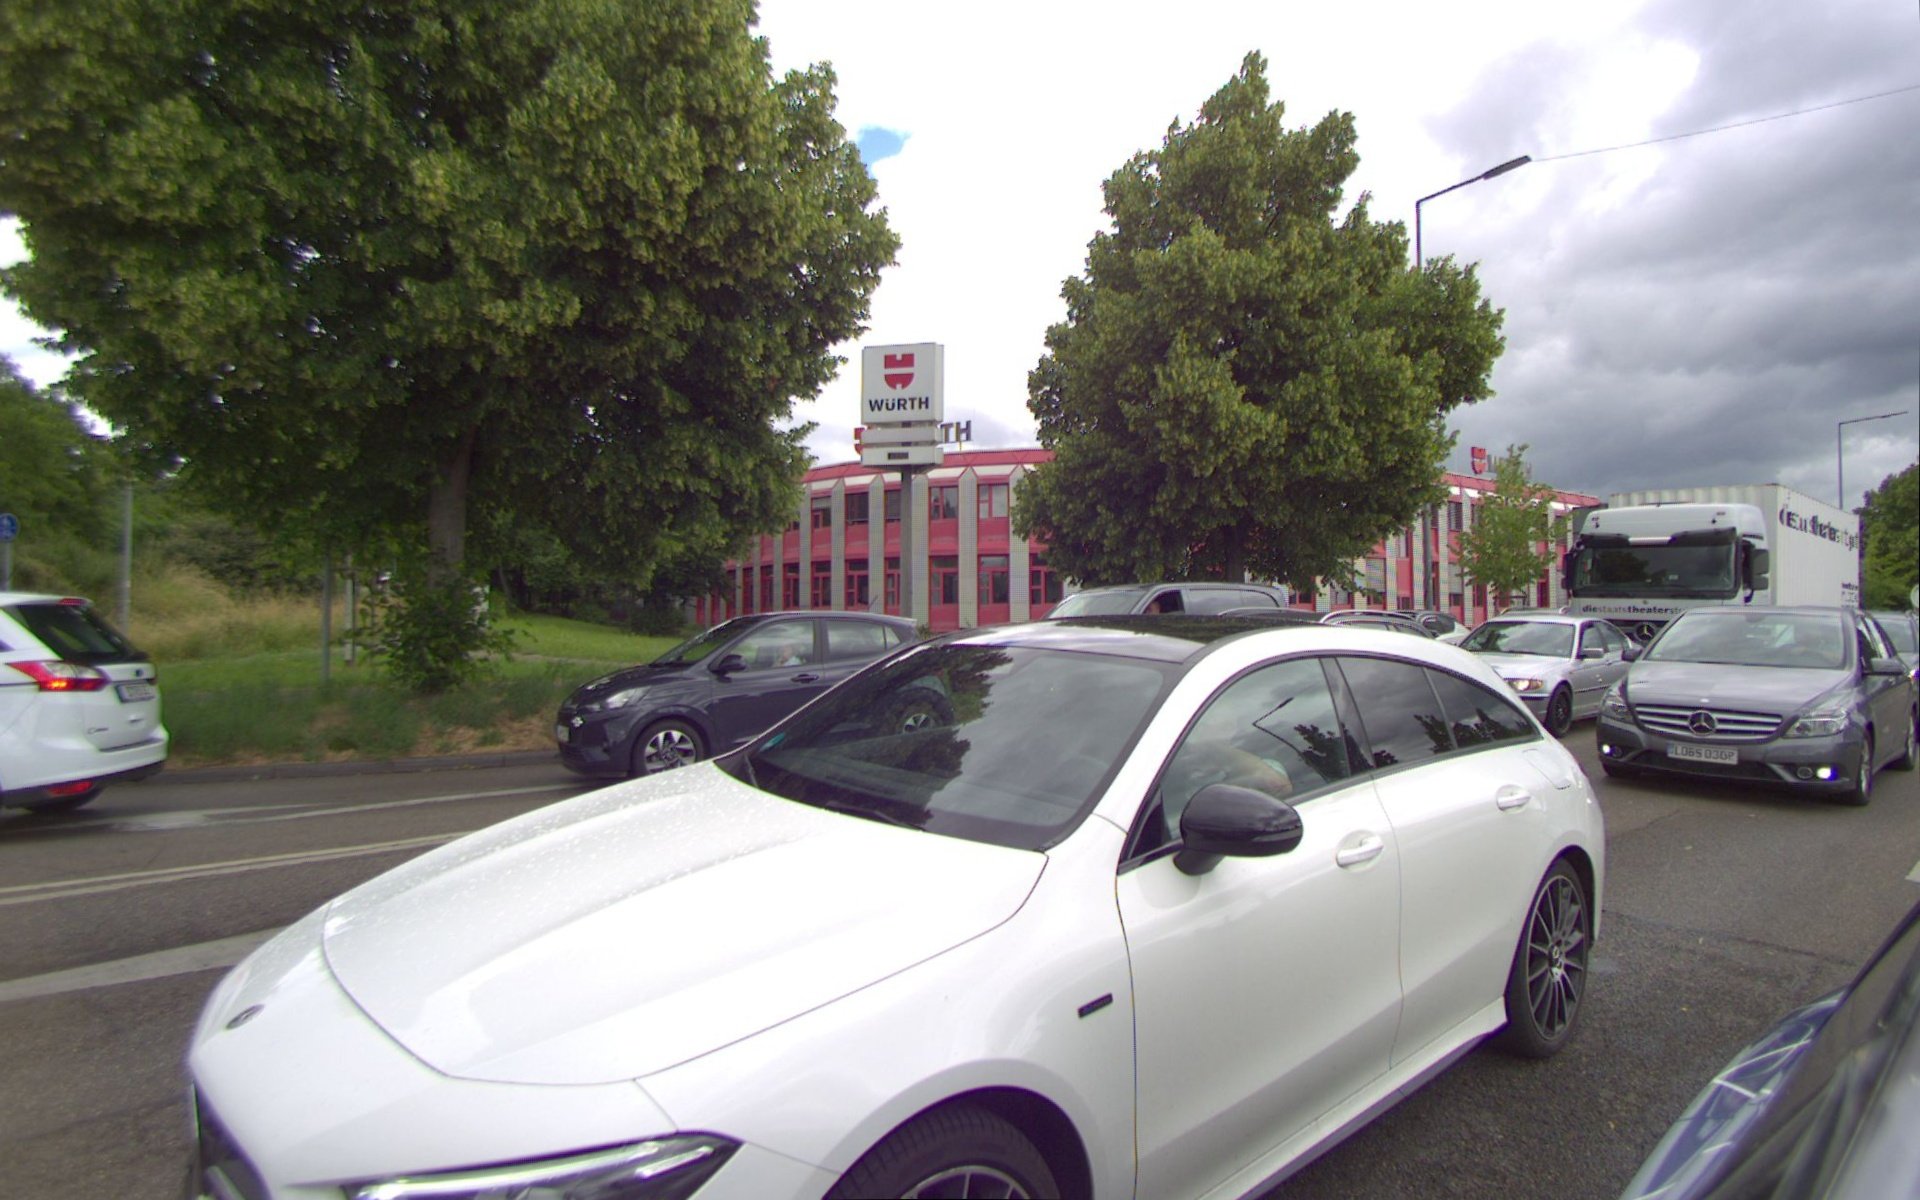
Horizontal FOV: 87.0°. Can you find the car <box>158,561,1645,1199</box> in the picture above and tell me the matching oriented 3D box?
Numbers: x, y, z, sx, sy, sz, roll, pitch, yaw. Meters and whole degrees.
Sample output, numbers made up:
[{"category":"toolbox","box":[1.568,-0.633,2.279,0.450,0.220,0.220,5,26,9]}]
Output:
[{"category":"car","box":[0.412,0.697,3.138,4.453,1.525,1.847,-1,1,-42]}]

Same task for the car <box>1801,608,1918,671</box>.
[{"category":"car","box":[24.380,1.027,27.392,4.299,1.549,1.850,1,-1,-41]}]

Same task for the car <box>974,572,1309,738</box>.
[{"category":"car","box":[2.490,0.570,13.160,4.592,1.797,1.762,-1,0,-40]}]

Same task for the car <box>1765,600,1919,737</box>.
[{"category":"car","box":[11.755,0.793,12.947,3.769,1.512,1.627,1,-1,-41]}]

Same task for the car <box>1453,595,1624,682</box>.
[{"category":"car","box":[12.386,0.804,21.585,4.133,1.679,1.863,1,-3,-41]}]

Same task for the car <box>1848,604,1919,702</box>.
[{"category":"car","box":[16.344,0.864,16.848,3.431,1.525,1.825,1,-1,-39]}]

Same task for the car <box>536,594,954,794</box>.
[{"category":"car","box":[-1.955,0.721,9.502,3.495,1.525,1.608,-1,0,-34]}]

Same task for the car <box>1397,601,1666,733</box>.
[{"category":"car","box":[7.542,0.738,13.180,4.215,1.400,1.749,-1,1,-41]}]

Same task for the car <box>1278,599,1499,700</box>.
[{"category":"car","box":[7.401,0.799,17.325,4.034,1.536,1.842,0,-4,-41]}]

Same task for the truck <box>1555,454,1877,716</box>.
[{"category":"truck","box":[14.966,-0.215,19.586,10.000,3.953,2.808,0,0,-40]}]

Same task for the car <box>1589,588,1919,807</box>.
[{"category":"car","box":[7.296,0.708,9.059,3.976,1.527,1.749,1,-1,-41]}]

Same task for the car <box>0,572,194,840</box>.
[{"category":"car","box":[-7.912,0.675,6.611,4.278,1.676,1.767,0,-1,-20]}]

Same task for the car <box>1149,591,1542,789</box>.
[{"category":"car","box":[3.873,0.702,9.782,4.279,1.504,1.749,1,-1,-41]}]
